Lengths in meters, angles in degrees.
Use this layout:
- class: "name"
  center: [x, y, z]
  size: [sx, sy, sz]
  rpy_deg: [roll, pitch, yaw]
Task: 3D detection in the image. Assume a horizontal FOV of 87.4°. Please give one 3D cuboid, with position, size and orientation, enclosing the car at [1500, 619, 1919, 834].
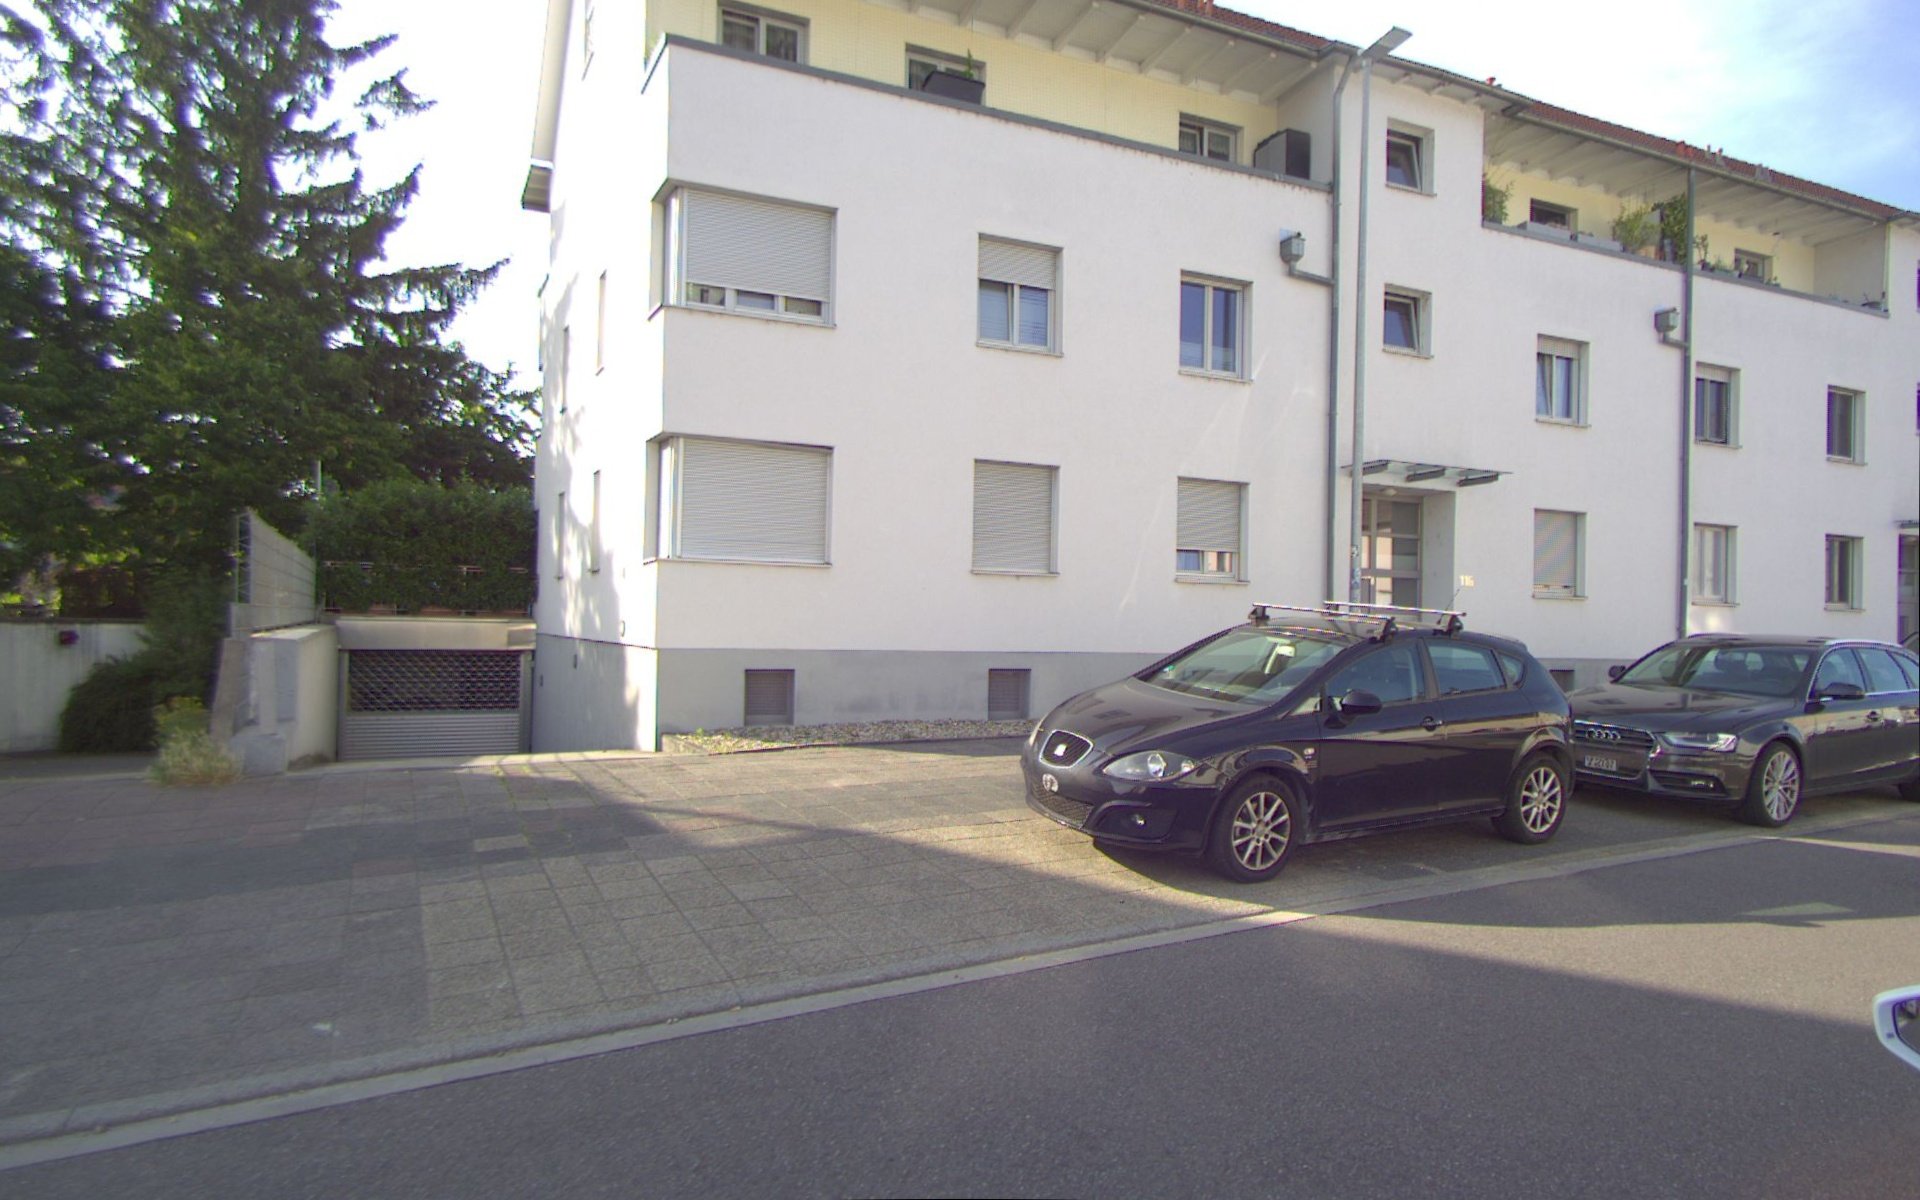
- class: "car"
  center: [7.129, 0.996, 9.032]
  size: [4.443, 1.497, 1.721]
  rpy_deg: [2, 0, -26]

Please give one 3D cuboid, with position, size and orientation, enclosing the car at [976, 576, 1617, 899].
- class: "car"
  center: [2.357, 0.748, 6.905]
  size: [4.124, 1.644, 1.769]
  rpy_deg: [2, 1, -27]

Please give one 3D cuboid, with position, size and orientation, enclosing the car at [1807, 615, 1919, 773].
- class: "car"
  center: [11.892, 1.038, 11.581]
  size: [4.207, 1.643, 1.721]
  rpy_deg: [1, -1, -26]
